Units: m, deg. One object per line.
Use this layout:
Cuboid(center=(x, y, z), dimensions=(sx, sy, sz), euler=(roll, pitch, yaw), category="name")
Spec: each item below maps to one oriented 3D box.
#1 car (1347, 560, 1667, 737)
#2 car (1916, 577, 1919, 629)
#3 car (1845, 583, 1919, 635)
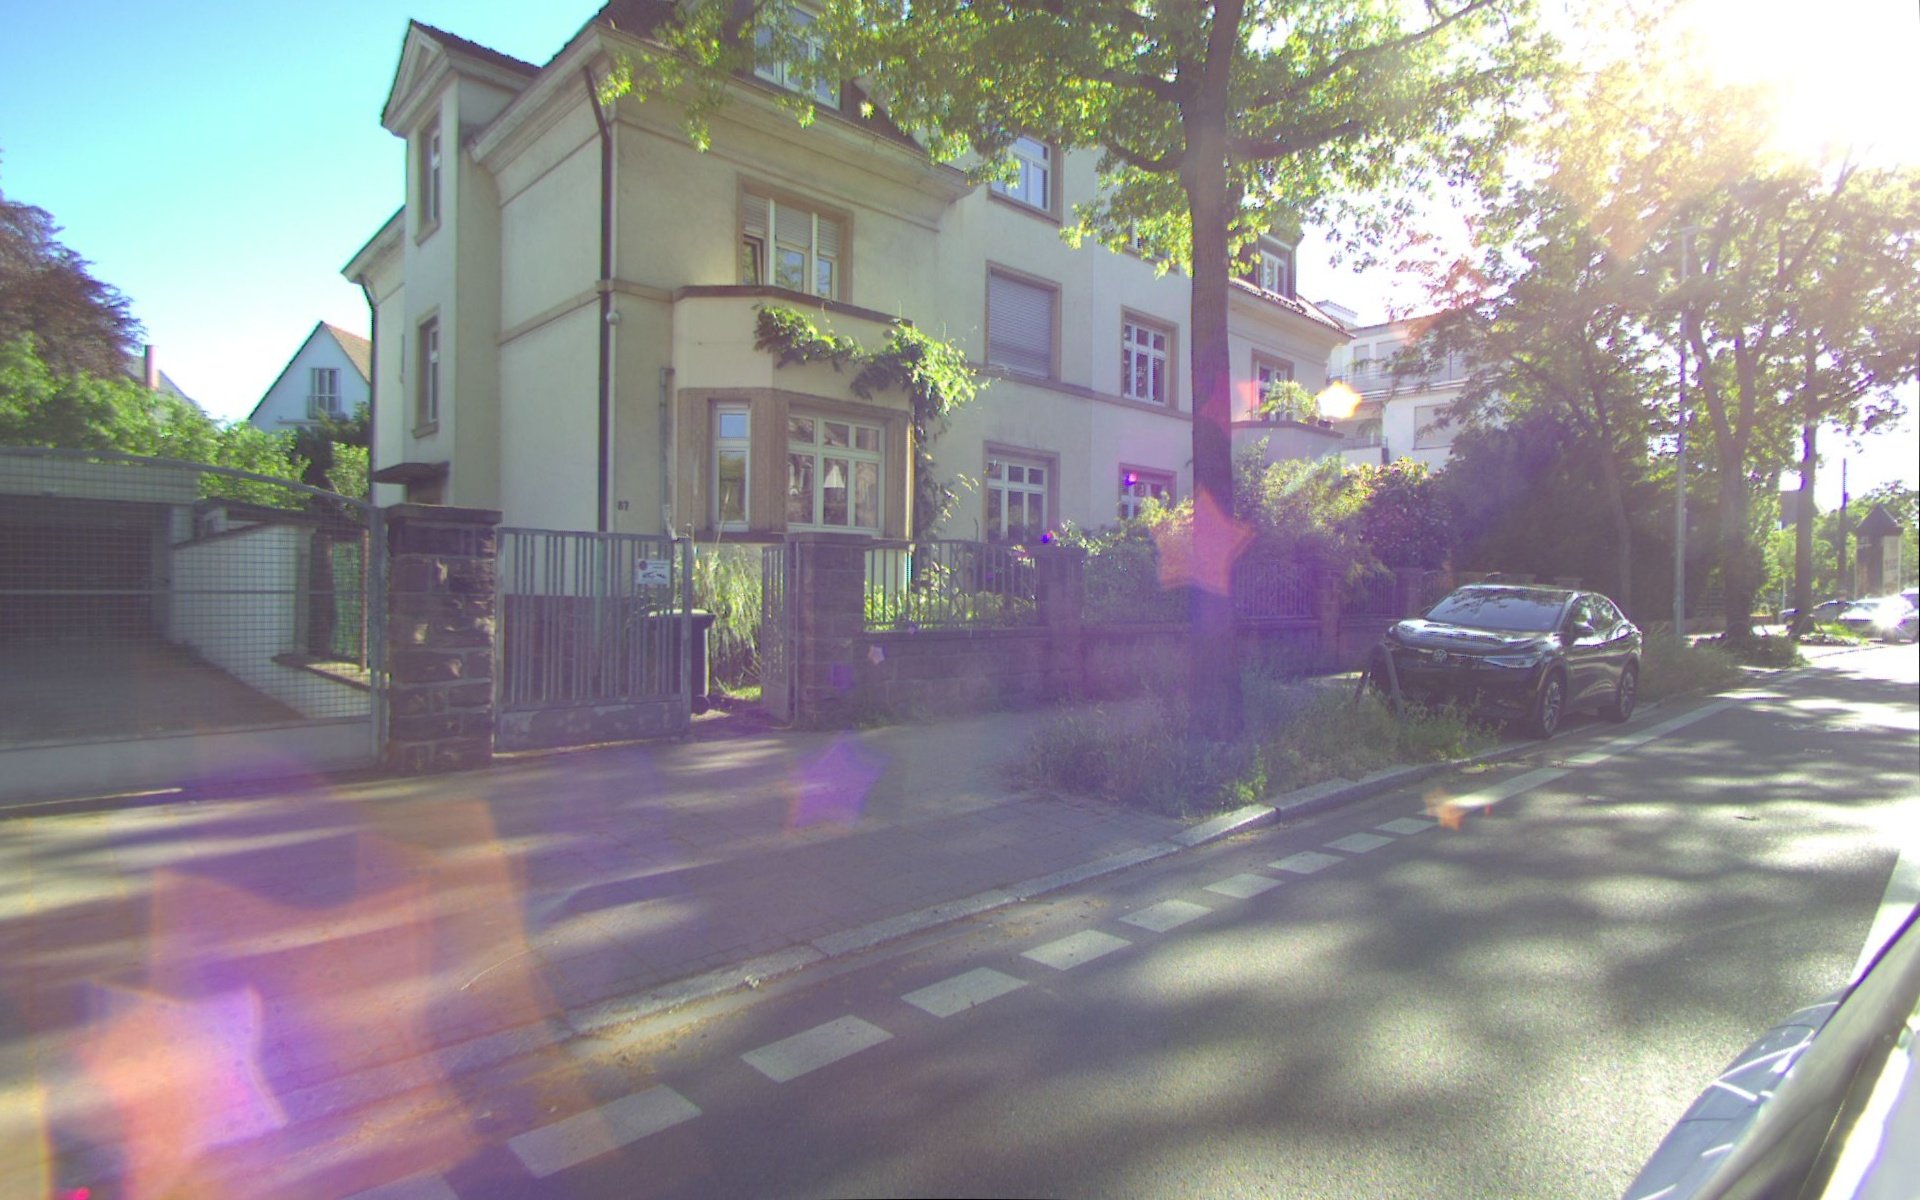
Cuboid(center=(6.702, 0.484, 12.204), dimensions=(4.304, 1.695, 1.997), euler=(1, 2, -42), category="car")
Cuboid(center=(37.272, 0.115, 37.575), dimensions=(4.663, 1.919, 2.128), euler=(0, 1, -41), category="car")
Cuboid(center=(31.511, 0.259, 34.107), dimensions=(3.927, 1.660, 1.824), euler=(0, 1, -38), category="car")
